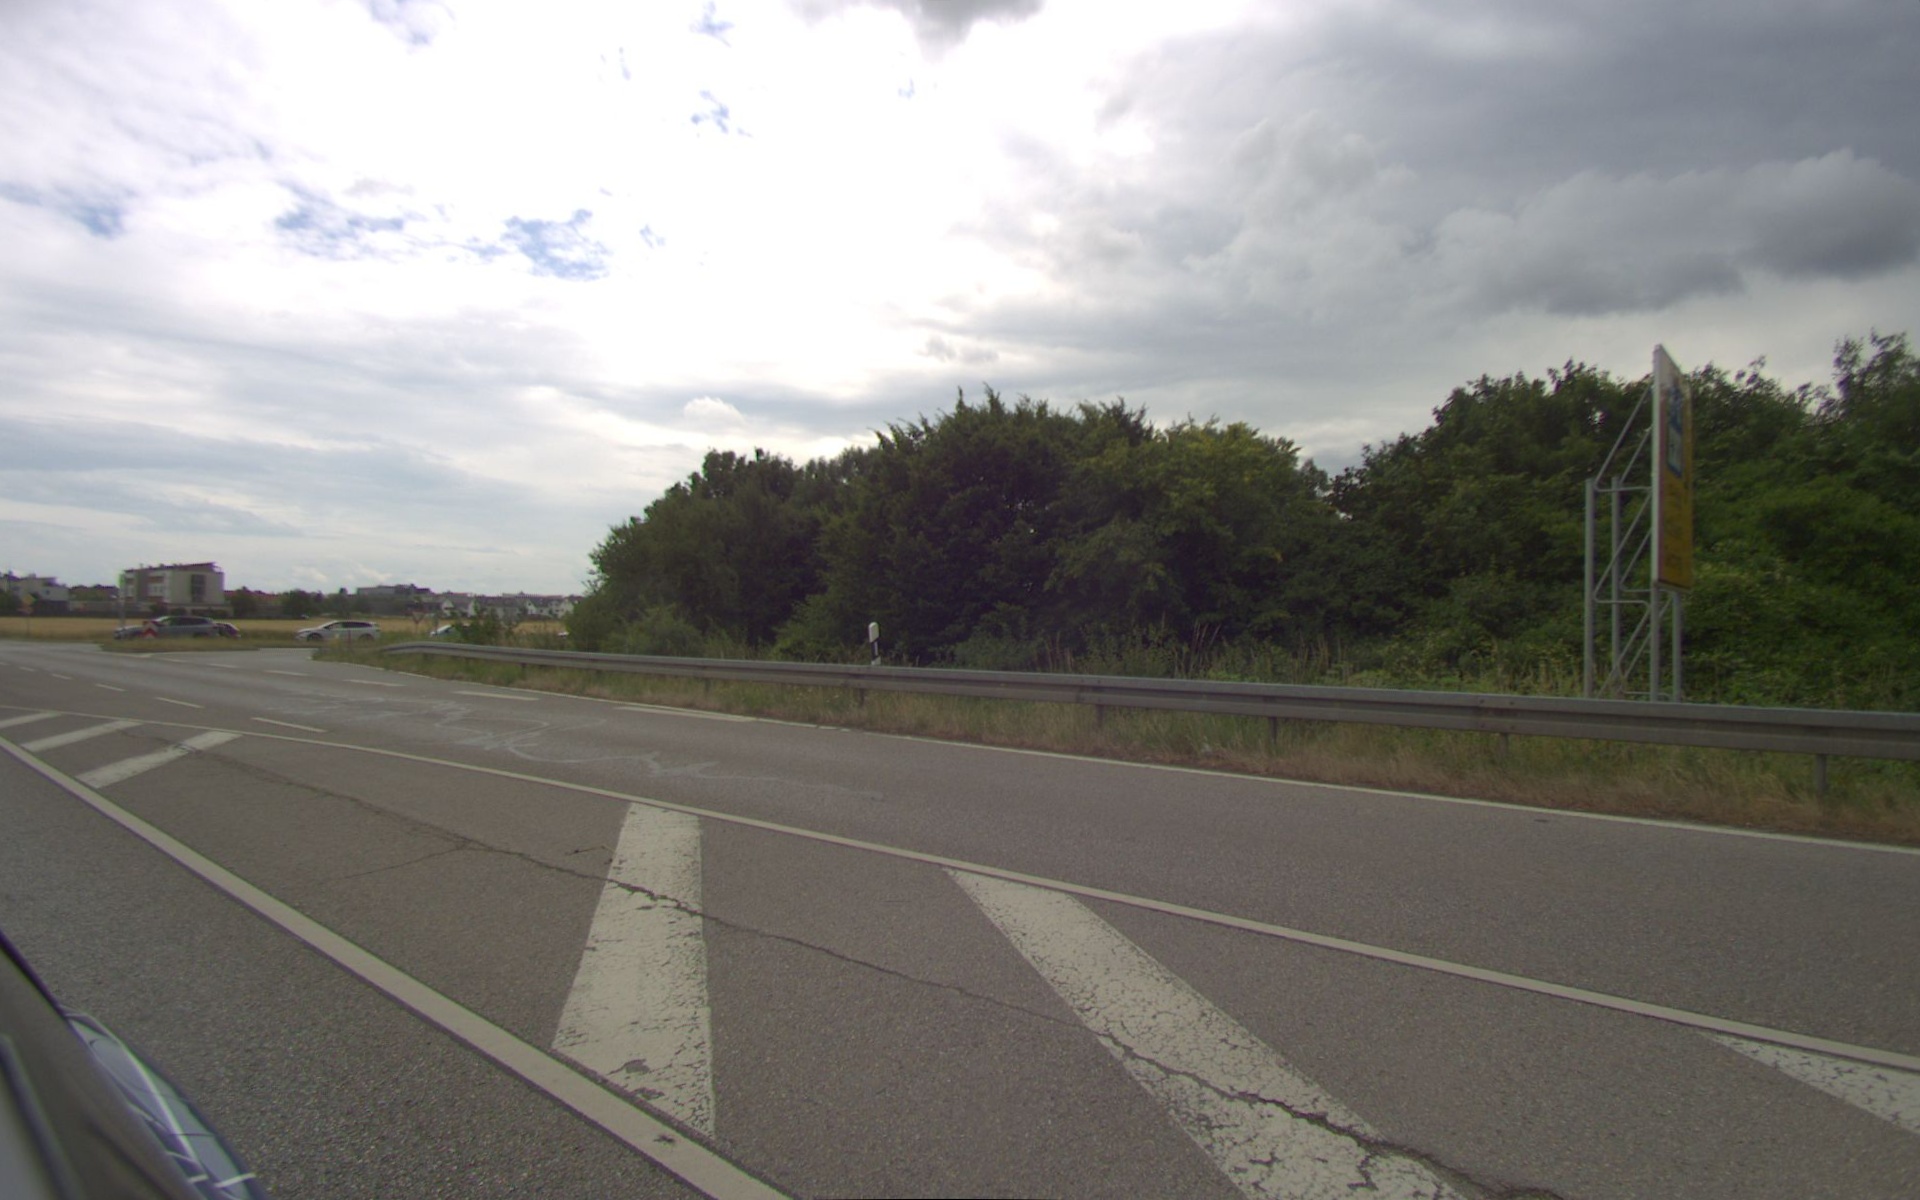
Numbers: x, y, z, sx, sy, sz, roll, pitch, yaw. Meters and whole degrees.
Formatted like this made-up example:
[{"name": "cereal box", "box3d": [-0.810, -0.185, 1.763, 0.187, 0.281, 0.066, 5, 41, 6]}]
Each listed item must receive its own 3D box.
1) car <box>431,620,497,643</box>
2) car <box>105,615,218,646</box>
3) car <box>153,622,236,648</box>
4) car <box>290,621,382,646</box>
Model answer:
[{"name": "car", "box3d": [-33.448, 2.130, 68.222, 3.662, 1.510, 1.732, 1, -2, -42]}, {"name": "car", "box3d": [-45.023, 1.704, 57.143, 2.000, 1.702, 4.749, -1, -2, 43]}, {"name": "car", "box3d": [-45.679, 2.049, 60.435, 3.779, 1.501, 2.002, 1, -2, -42]}, {"name": "car", "box3d": [-38.806, 2.041, 62.998, 4.607, 1.510, 2.002, 1, -2, -42]}]
